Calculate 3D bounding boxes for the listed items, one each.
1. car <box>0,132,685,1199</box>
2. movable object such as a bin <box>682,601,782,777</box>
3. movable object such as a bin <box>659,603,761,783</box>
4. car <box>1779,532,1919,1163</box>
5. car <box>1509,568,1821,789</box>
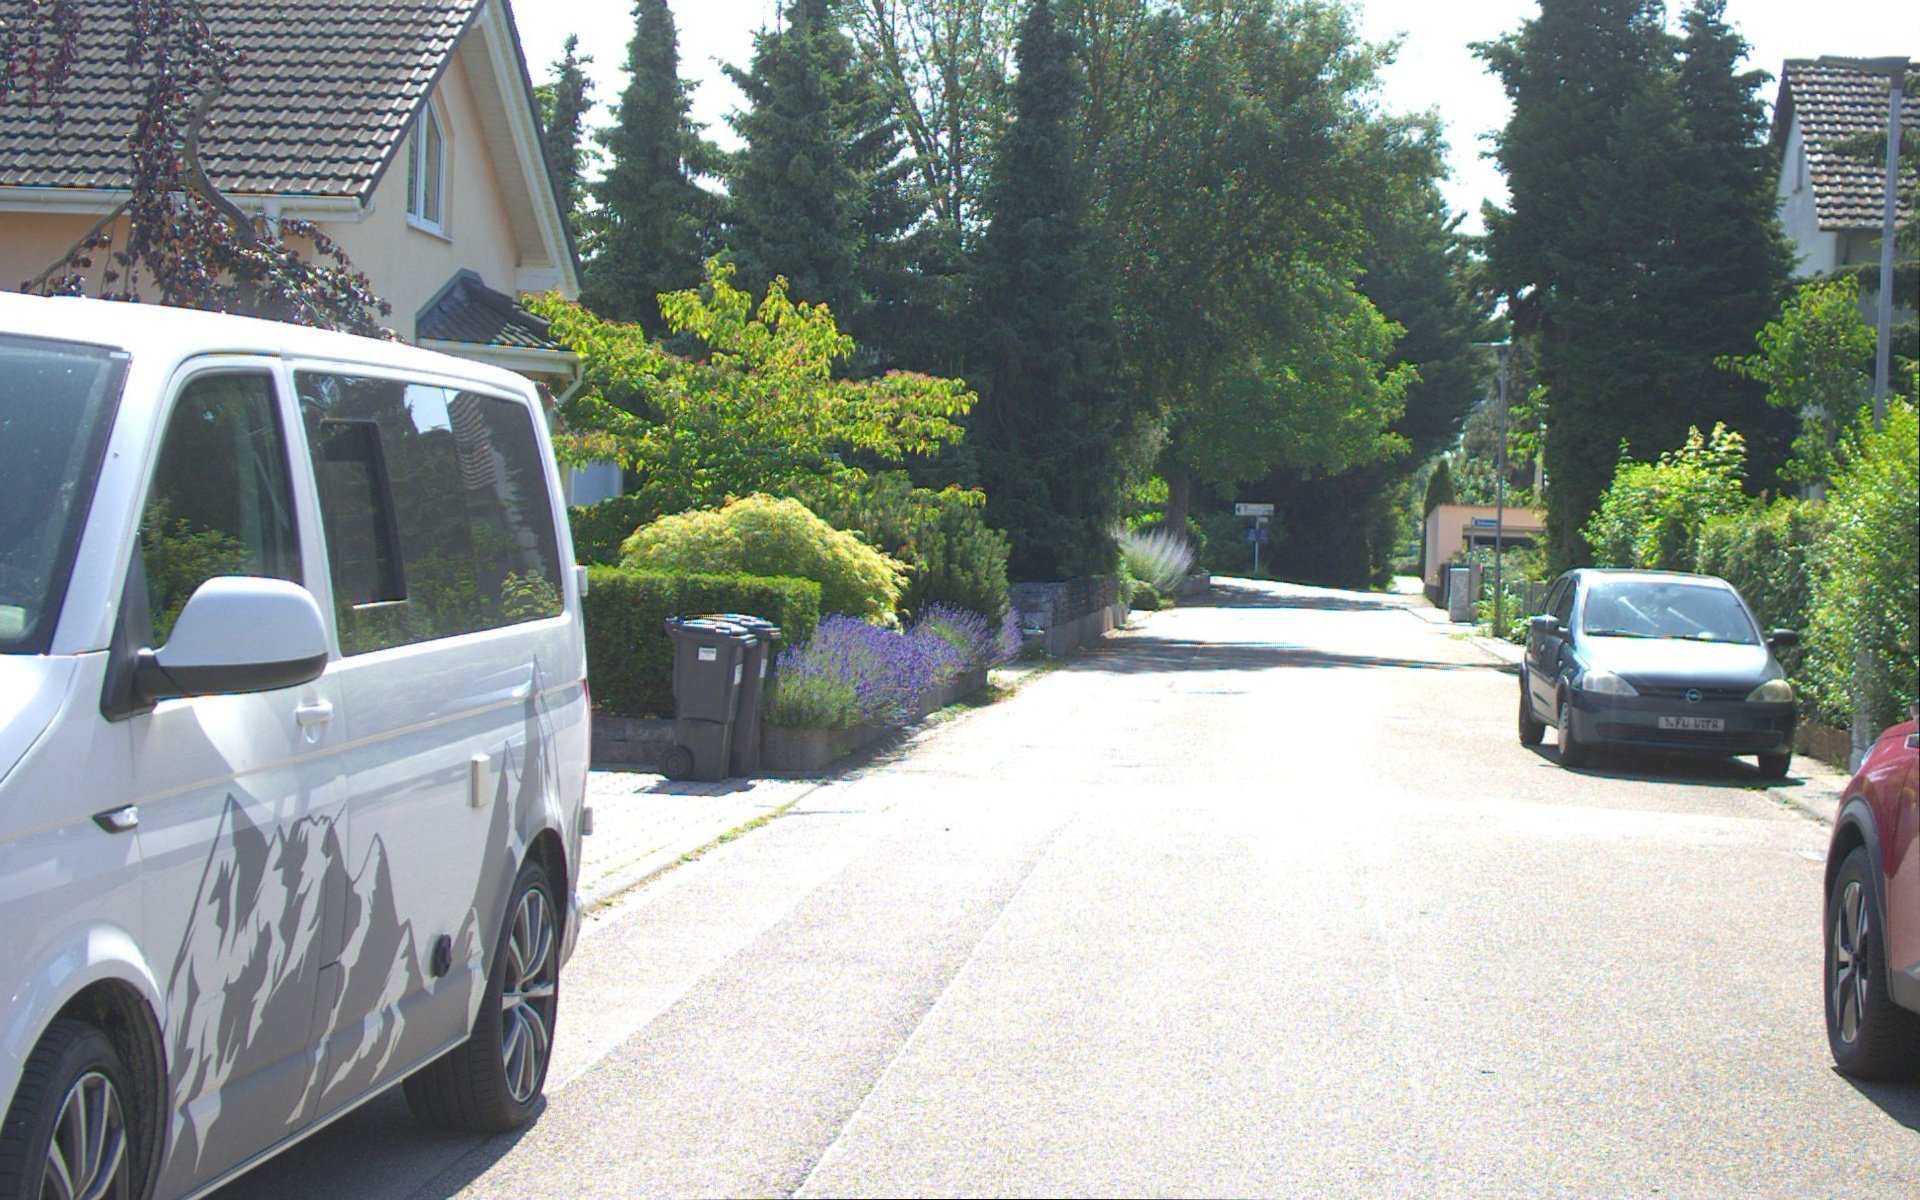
[{"bbox_3d":[-2.062,0.271,7.154,1.929,2.007,4.894,3,1,7],"label":"car"},{"bbox_3d":[-1.373,0.530,20.731,0.494,1.021,0.447,2,1,6],"label":"movable object such as a bin"},{"bbox_3d":[-1.472,0.541,20.277,0.494,1.021,0.447,2,1,6],"label":"movable object such as a bin"},{"bbox_3d":[3.395,0.689,8.587,1.822,1.610,4.000,4,1,3],"label":"car"},{"bbox_3d":[5.182,0.521,25.724,1.703,1.395,4.000,4,1,4],"label":"car"}]
